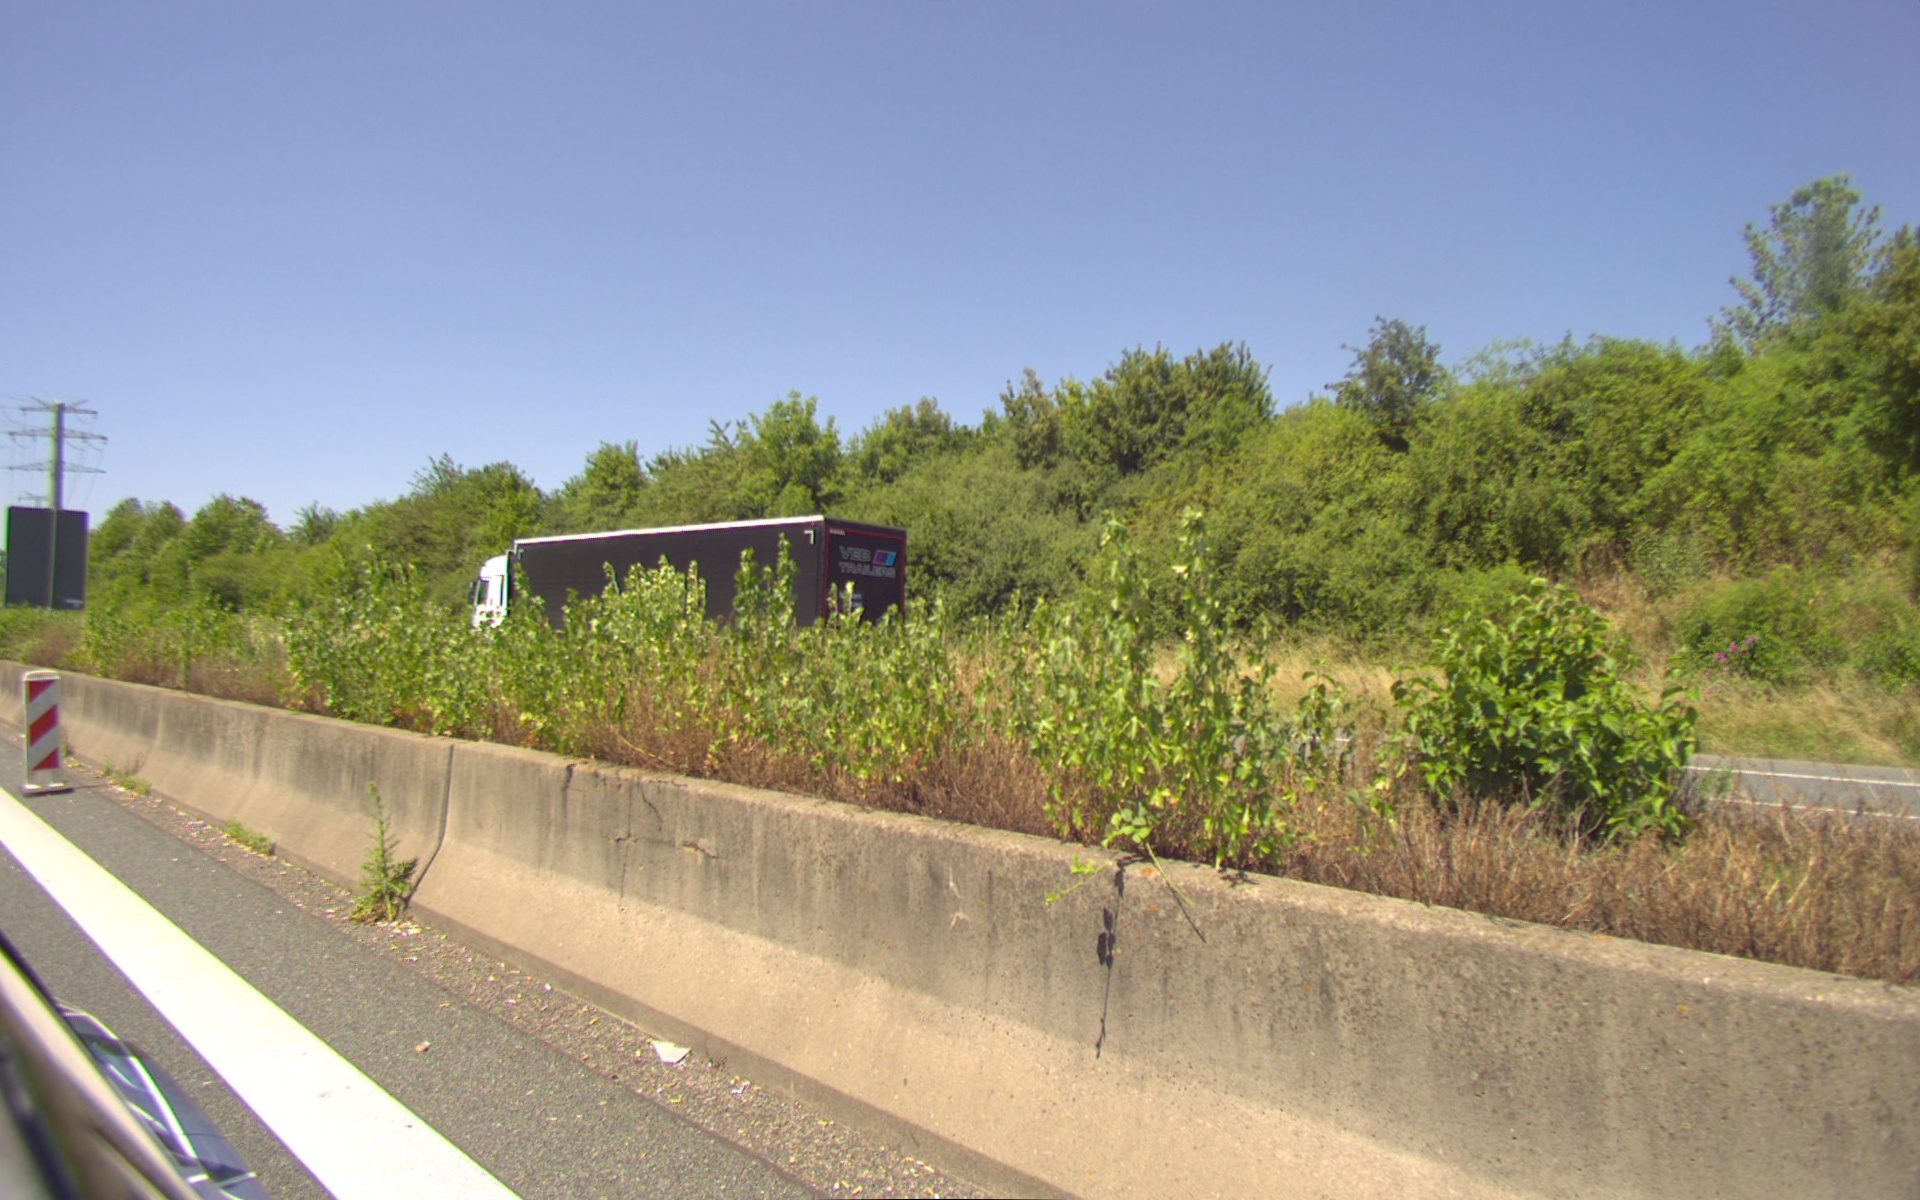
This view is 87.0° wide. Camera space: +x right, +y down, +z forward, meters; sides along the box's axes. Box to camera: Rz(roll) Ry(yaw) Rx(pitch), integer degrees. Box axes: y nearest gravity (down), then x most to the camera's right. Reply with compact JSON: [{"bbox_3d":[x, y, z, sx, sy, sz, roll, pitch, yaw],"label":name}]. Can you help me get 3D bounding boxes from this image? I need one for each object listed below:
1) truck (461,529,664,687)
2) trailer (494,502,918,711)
[{"bbox_3d":[-11.901,0.343,30.049,6.406,4.199,2.723,-1,-5,40],"label":"truck"},{"bbox_3d":[-7.253,0.303,26.023,14.187,4.199,2.724,-1,-5,41],"label":"trailer"}]
